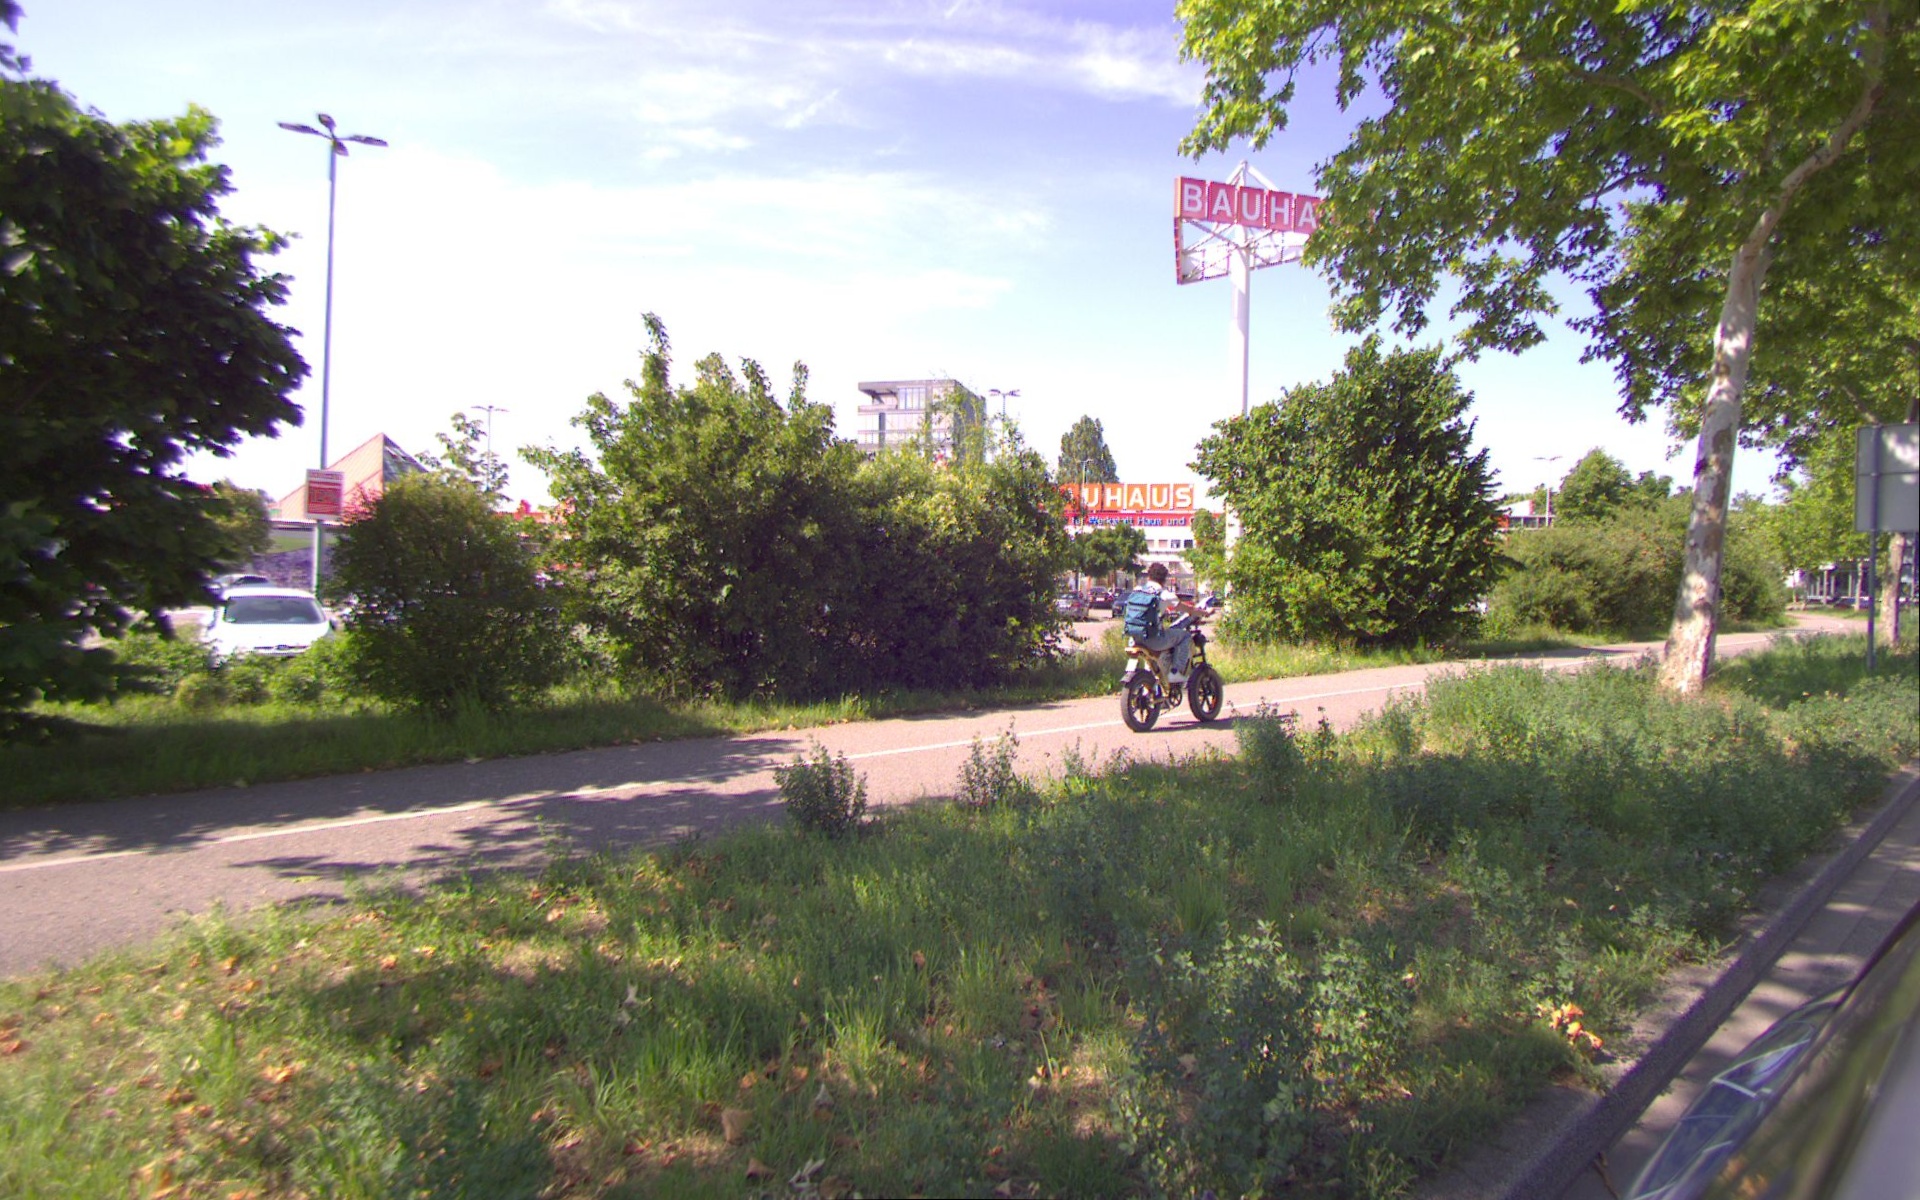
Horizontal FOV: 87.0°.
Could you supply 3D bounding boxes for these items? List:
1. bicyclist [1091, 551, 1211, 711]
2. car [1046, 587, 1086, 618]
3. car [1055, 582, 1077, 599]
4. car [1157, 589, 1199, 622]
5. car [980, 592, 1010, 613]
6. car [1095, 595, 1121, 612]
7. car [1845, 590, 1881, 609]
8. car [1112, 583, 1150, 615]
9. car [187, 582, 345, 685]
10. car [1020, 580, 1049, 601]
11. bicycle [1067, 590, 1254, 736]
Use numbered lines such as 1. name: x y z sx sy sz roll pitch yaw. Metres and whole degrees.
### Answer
1. bicyclist: 1.900 0.283 10.059 0.992 1.495 0.705 -1 0 -40
2. car: 5.420 0.109 51.415 1.752 1.505 3.778 0 1 10
3. car: 9.159 -0.816 87.229 1.545 1.396 3.606 0 1 12
4. car: 10.883 0.238 50.456 1.970 1.527 3.985 1 1 13
5. car: 2.450 0.185 69.730 1.544 1.396 3.608 0 1 10
6. car: 10.068 0.213 68.526 1.495 1.073 3.175 -1 0 13
7. car: 81.640 -0.054 91.558 1.635 1.621 3.567 0 1 29
8. car: 9.604 -0.095 56.614 1.606 1.648 4.736 2 1 15
9. car: -11.134 0.444 16.129 1.578 1.438 3.992 0 1 -42
10. car: 5.177 -0.648 69.928 1.545 1.396 3.606 0 1 12
11. bicycle: 2.058 0.564 10.193 2.058 1.315 0.724 -1 1 -40
